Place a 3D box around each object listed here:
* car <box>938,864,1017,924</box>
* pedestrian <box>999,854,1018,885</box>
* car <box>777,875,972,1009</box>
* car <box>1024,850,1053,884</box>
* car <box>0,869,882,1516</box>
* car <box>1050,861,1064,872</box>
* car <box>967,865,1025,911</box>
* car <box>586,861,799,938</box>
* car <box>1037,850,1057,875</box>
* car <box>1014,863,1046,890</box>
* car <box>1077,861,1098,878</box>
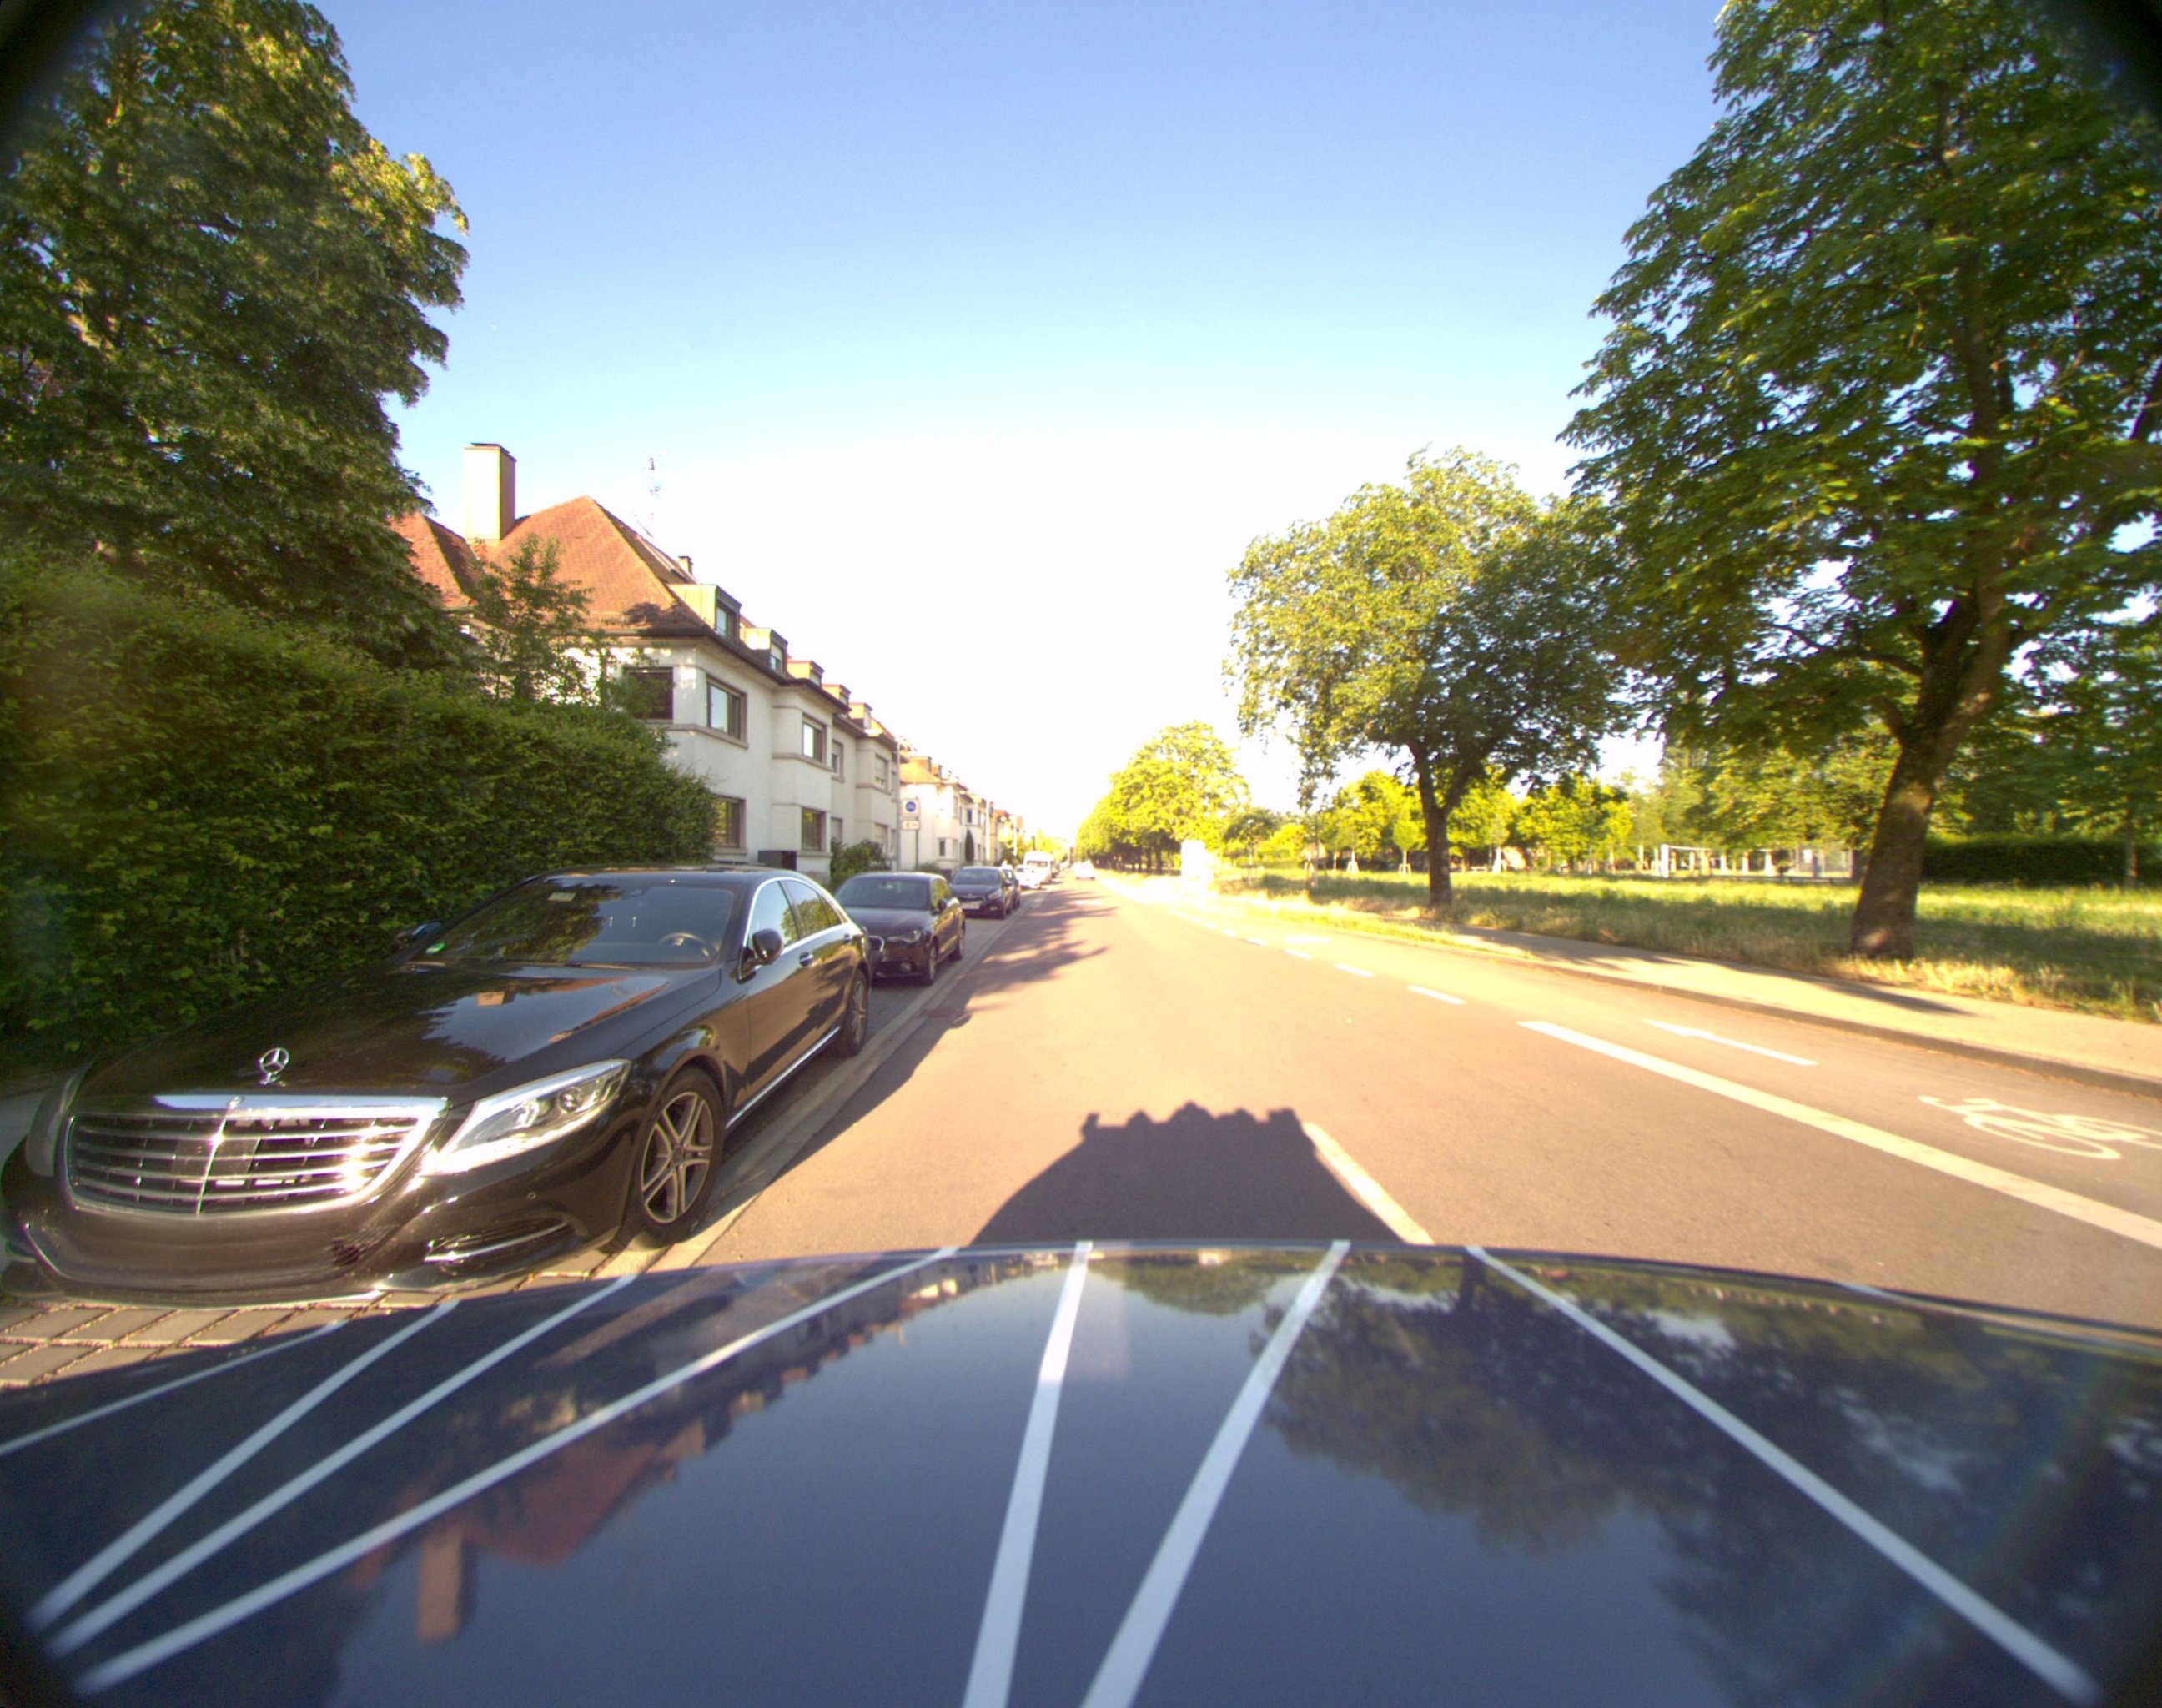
[{"bbox_3d":[-2.922,1.092,22.228,1.751,1.466,4.255,3,0,-2],"label":"car"},{"bbox_3d":[-4.736,1.013,49.495,1.089,2.002,0.865,0,0,-16],"label":"pedestrian"},{"bbox_3d":[-2.653,1.066,10.709,1.645,1.419,3.936,2,0,0],"label":"car"},{"bbox_3d":[-3.293,1.016,59.649,2.135,2.503,5.507,1,0,-2],"label":"car"},{"bbox_3d":[-2.627,0.905,4.338,1.864,1.533,4.872,1,0,-3],"label":"car"},{"bbox_3d":[-3.663,1.910,116.655,1.974,1.630,4.000,0,-1,-1],"label":"car"},{"bbox_3d":[-3.004,1.171,27.559,1.723,1.463,3.983,2,0,-2],"label":"car"},{"bbox_3d":[-8.225,0.941,16.371,3.644,1.487,1.780,2,0,-5],"label":"car"},{"bbox_3d":[-3.992,1.014,90.231,2.134,2.837,5.987,-1,0,-1],"label":"car"},{"bbox_3d":[-3.096,1.346,46.686,1.787,1.498,4.233,-1,0,-2],"label":"car"},{"bbox_3d":[0.631,1.521,75.906,1.896,1.667,4.424,-1,0,-2],"label":"car"}]
